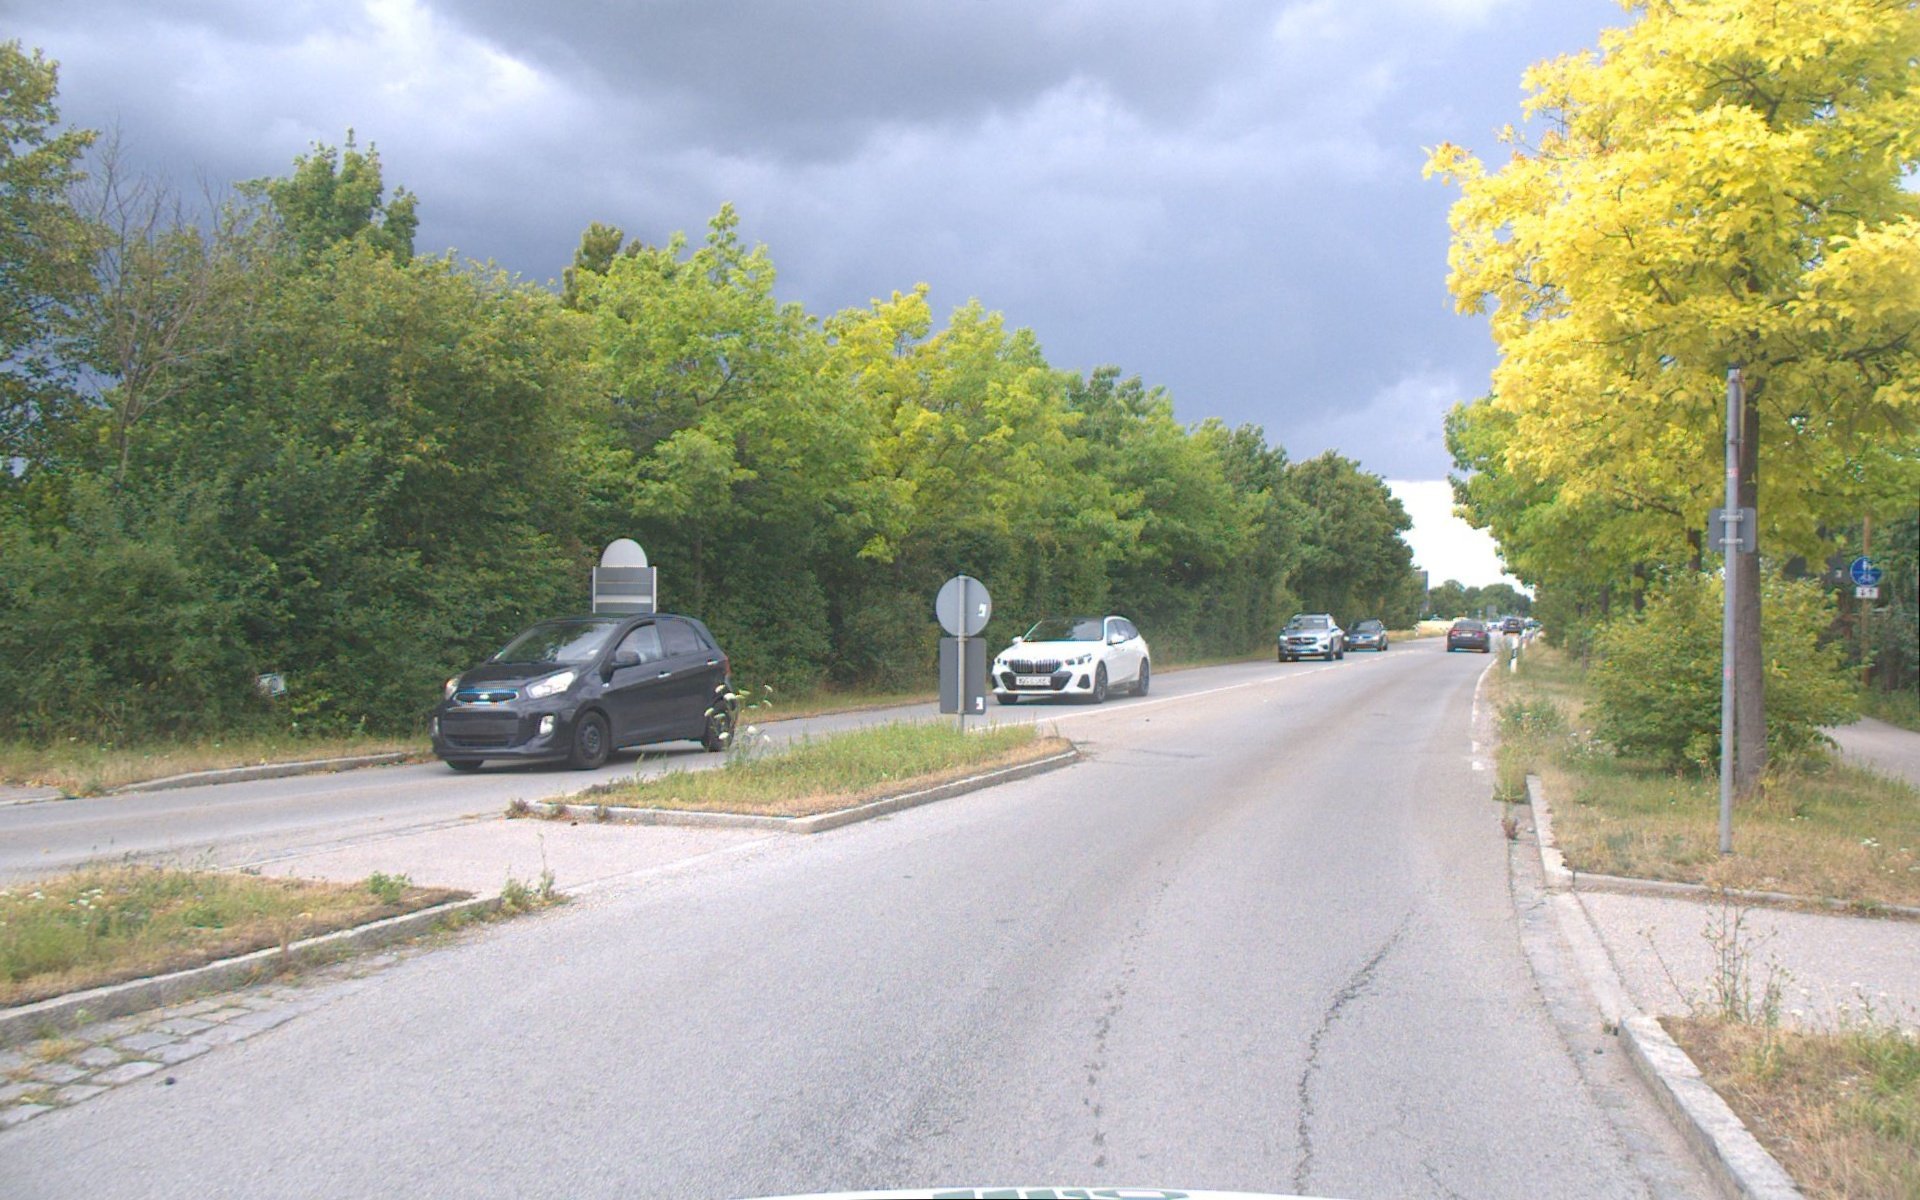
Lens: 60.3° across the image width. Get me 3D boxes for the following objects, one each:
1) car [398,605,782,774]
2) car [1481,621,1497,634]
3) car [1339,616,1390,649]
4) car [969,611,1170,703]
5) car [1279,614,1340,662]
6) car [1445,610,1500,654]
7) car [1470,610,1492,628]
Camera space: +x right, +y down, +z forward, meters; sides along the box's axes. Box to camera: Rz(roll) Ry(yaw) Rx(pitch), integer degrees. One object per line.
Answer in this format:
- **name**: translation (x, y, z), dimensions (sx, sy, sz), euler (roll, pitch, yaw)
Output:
- **car**: translation (-3.553, 0.814, 16.612), dimensions (1.649, 1.480, 3.997), euler (-2, -1, 25)
- **car**: translation (73.195, 3.773, 228.783), dimensions (1.952, 1.713, 4.810), euler (-1, -1, 20)
- **car**: translation (18.861, 1.534, 77.081), dimensions (1.952, 1.444, 4.479), euler (-2, -2, 18)
- **car**: translation (2.089, 0.971, 29.856), dimensions (2.168, 1.480, 4.942), euler (-1, -1, 22)
- **car**: translation (12.537, 1.366, 59.108), dimensions (1.951, 1.629, 4.668), euler (-2, -2, 14)
- **car**: translation (23.561, 1.483, 75.973), dimensions (2.322, 1.914, 4.479), euler (-2, -2, 18)
- **car**: translation (49.056, 1.810, 155.600), dimensions (1.899, 1.614, 4.557), euler (-2, -2, 18)
